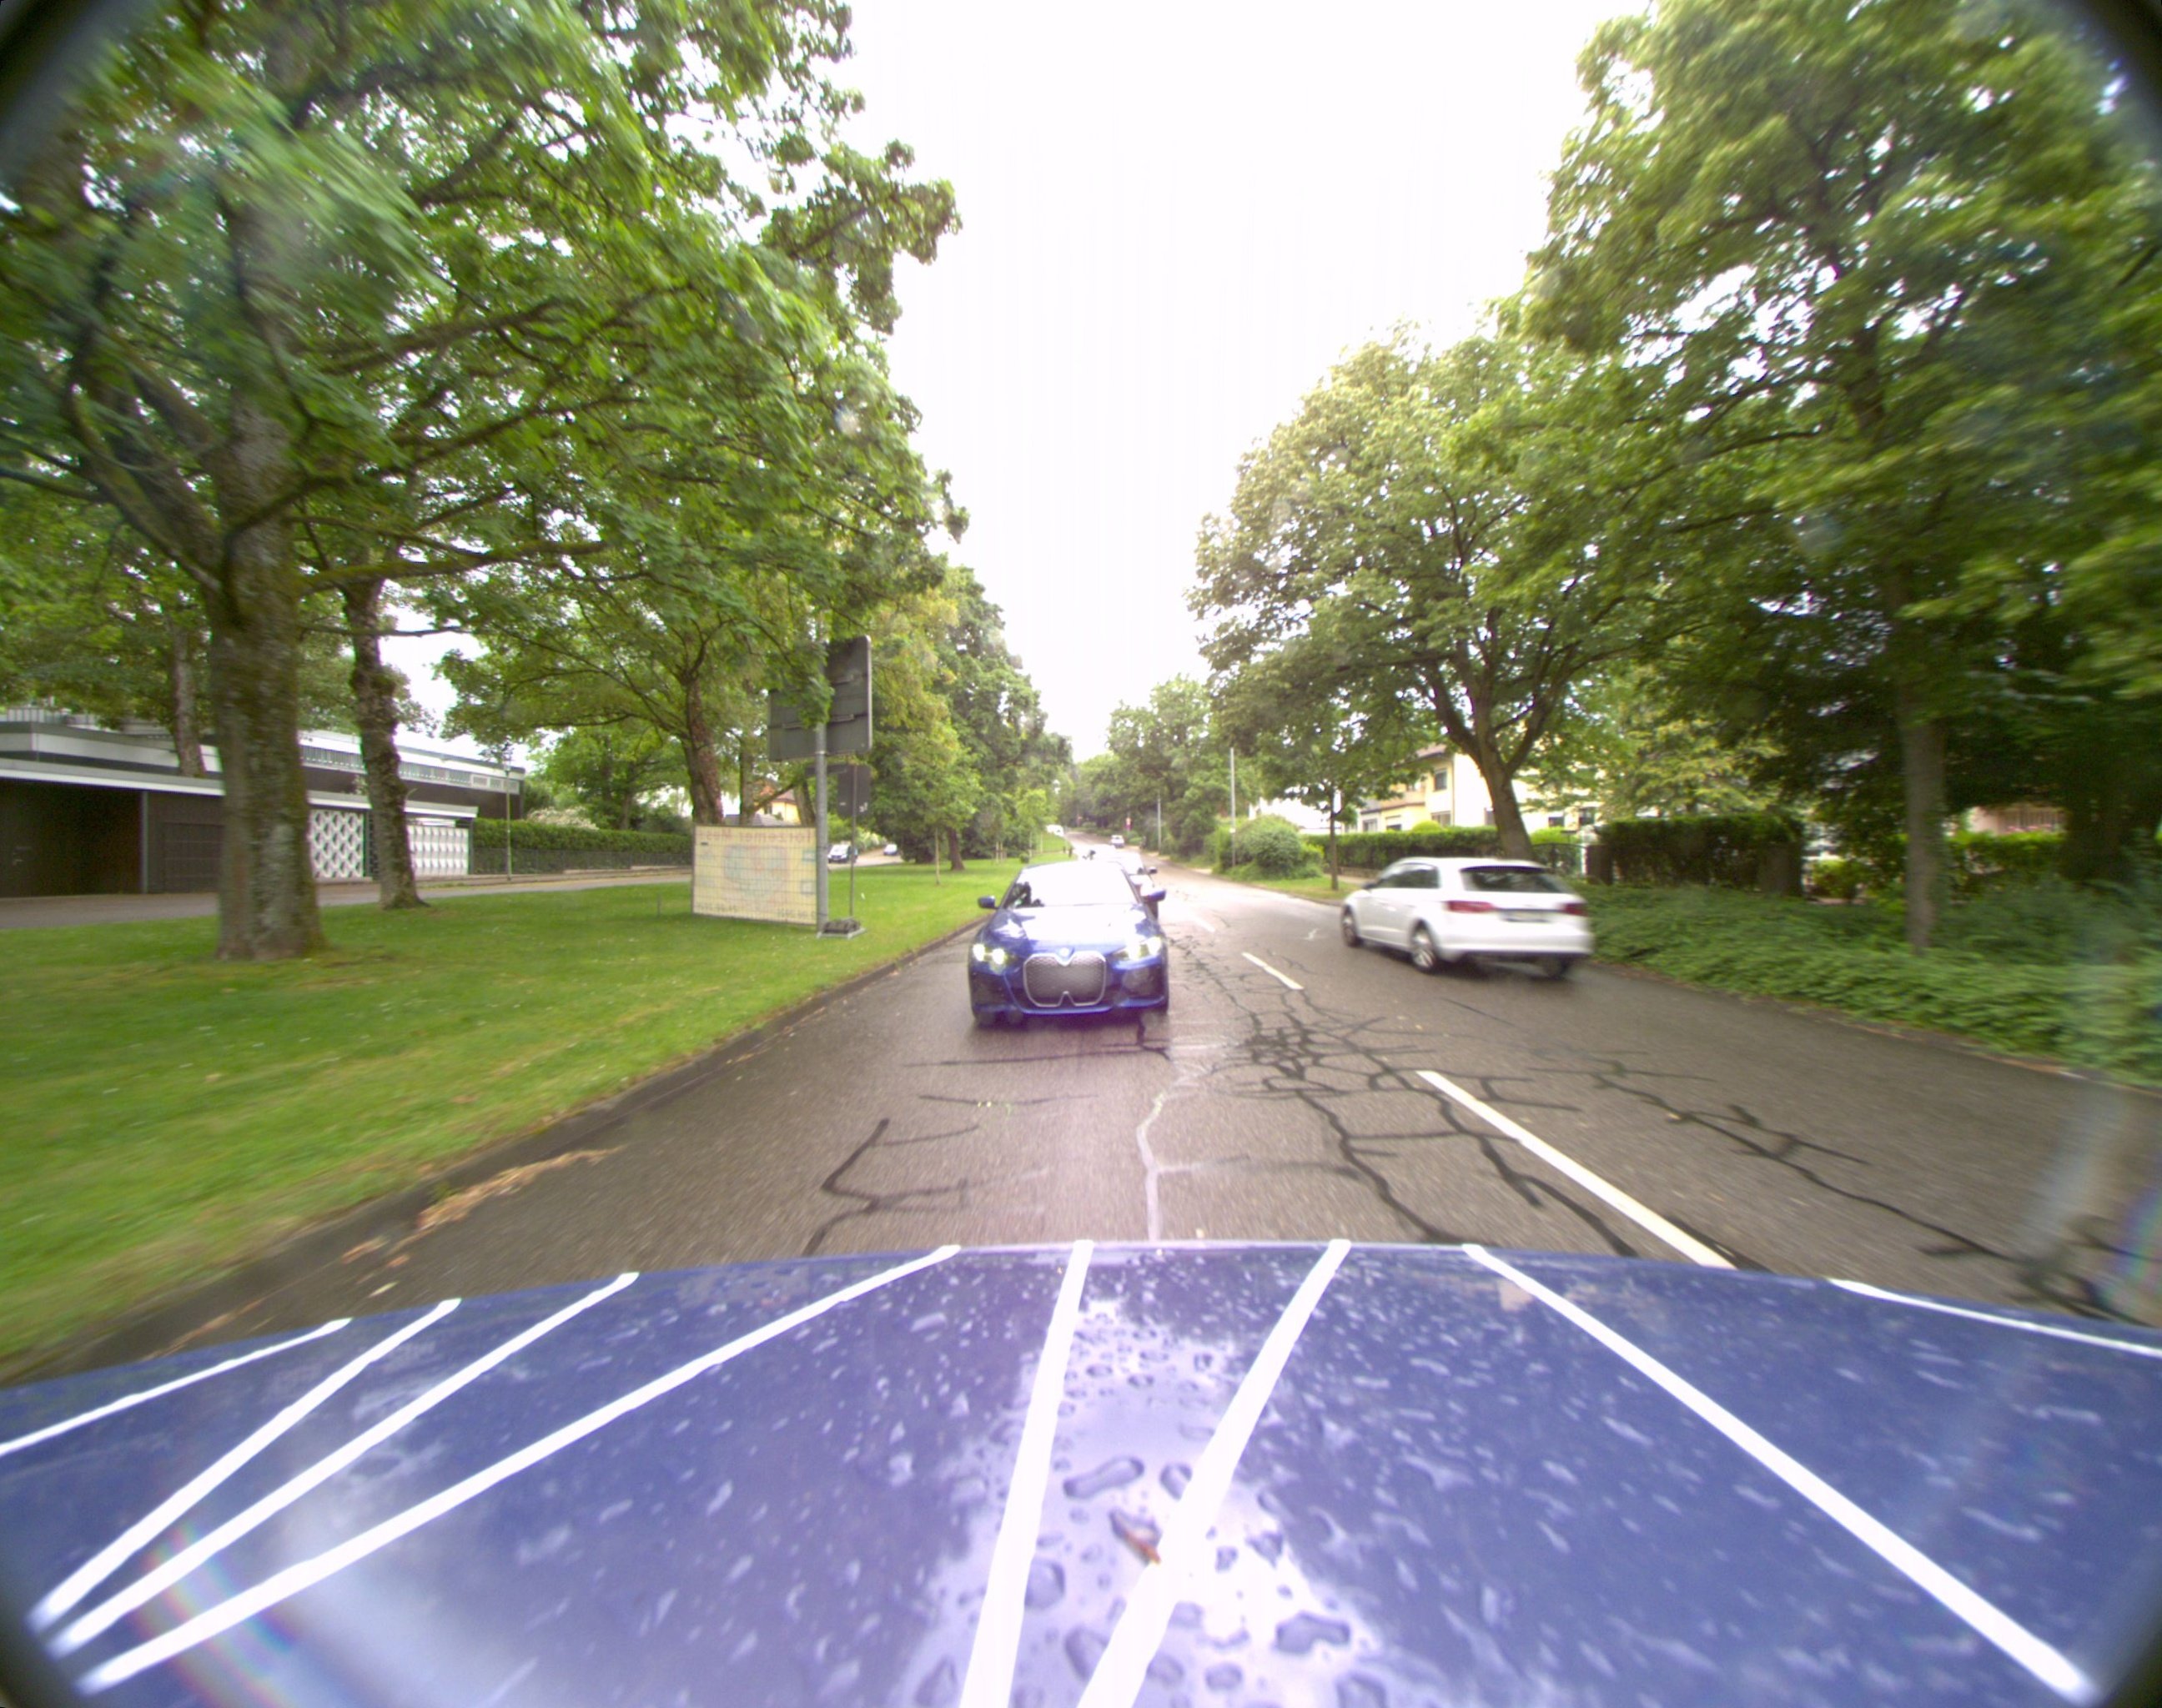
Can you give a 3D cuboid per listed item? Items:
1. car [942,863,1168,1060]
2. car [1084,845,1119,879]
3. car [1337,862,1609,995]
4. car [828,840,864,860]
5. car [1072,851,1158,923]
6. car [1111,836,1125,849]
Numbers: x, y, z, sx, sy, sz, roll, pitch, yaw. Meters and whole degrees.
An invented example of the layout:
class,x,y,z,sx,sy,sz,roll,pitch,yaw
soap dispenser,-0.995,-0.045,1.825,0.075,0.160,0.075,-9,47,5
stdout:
class,x,y,z,sx,sy,sz,roll,pitch,yaw
car,-0.086,0.917,8.485,1.795,1.459,4.510,-3,0,3
car,1.022,0.365,38.083,1.678,1.543,3.831,0,2,2
car,4.874,0.820,10.147,1.612,1.419,4.008,0,0,1
car,-23.732,-0.409,77.000,2.165,1.868,5.067,0,2,-2
car,0.843,0.691,18.309,1.795,1.459,4.510,-1,1,3
car,4.799,-1.519,98.779,1.768,1.605,4.140,0,1,1
